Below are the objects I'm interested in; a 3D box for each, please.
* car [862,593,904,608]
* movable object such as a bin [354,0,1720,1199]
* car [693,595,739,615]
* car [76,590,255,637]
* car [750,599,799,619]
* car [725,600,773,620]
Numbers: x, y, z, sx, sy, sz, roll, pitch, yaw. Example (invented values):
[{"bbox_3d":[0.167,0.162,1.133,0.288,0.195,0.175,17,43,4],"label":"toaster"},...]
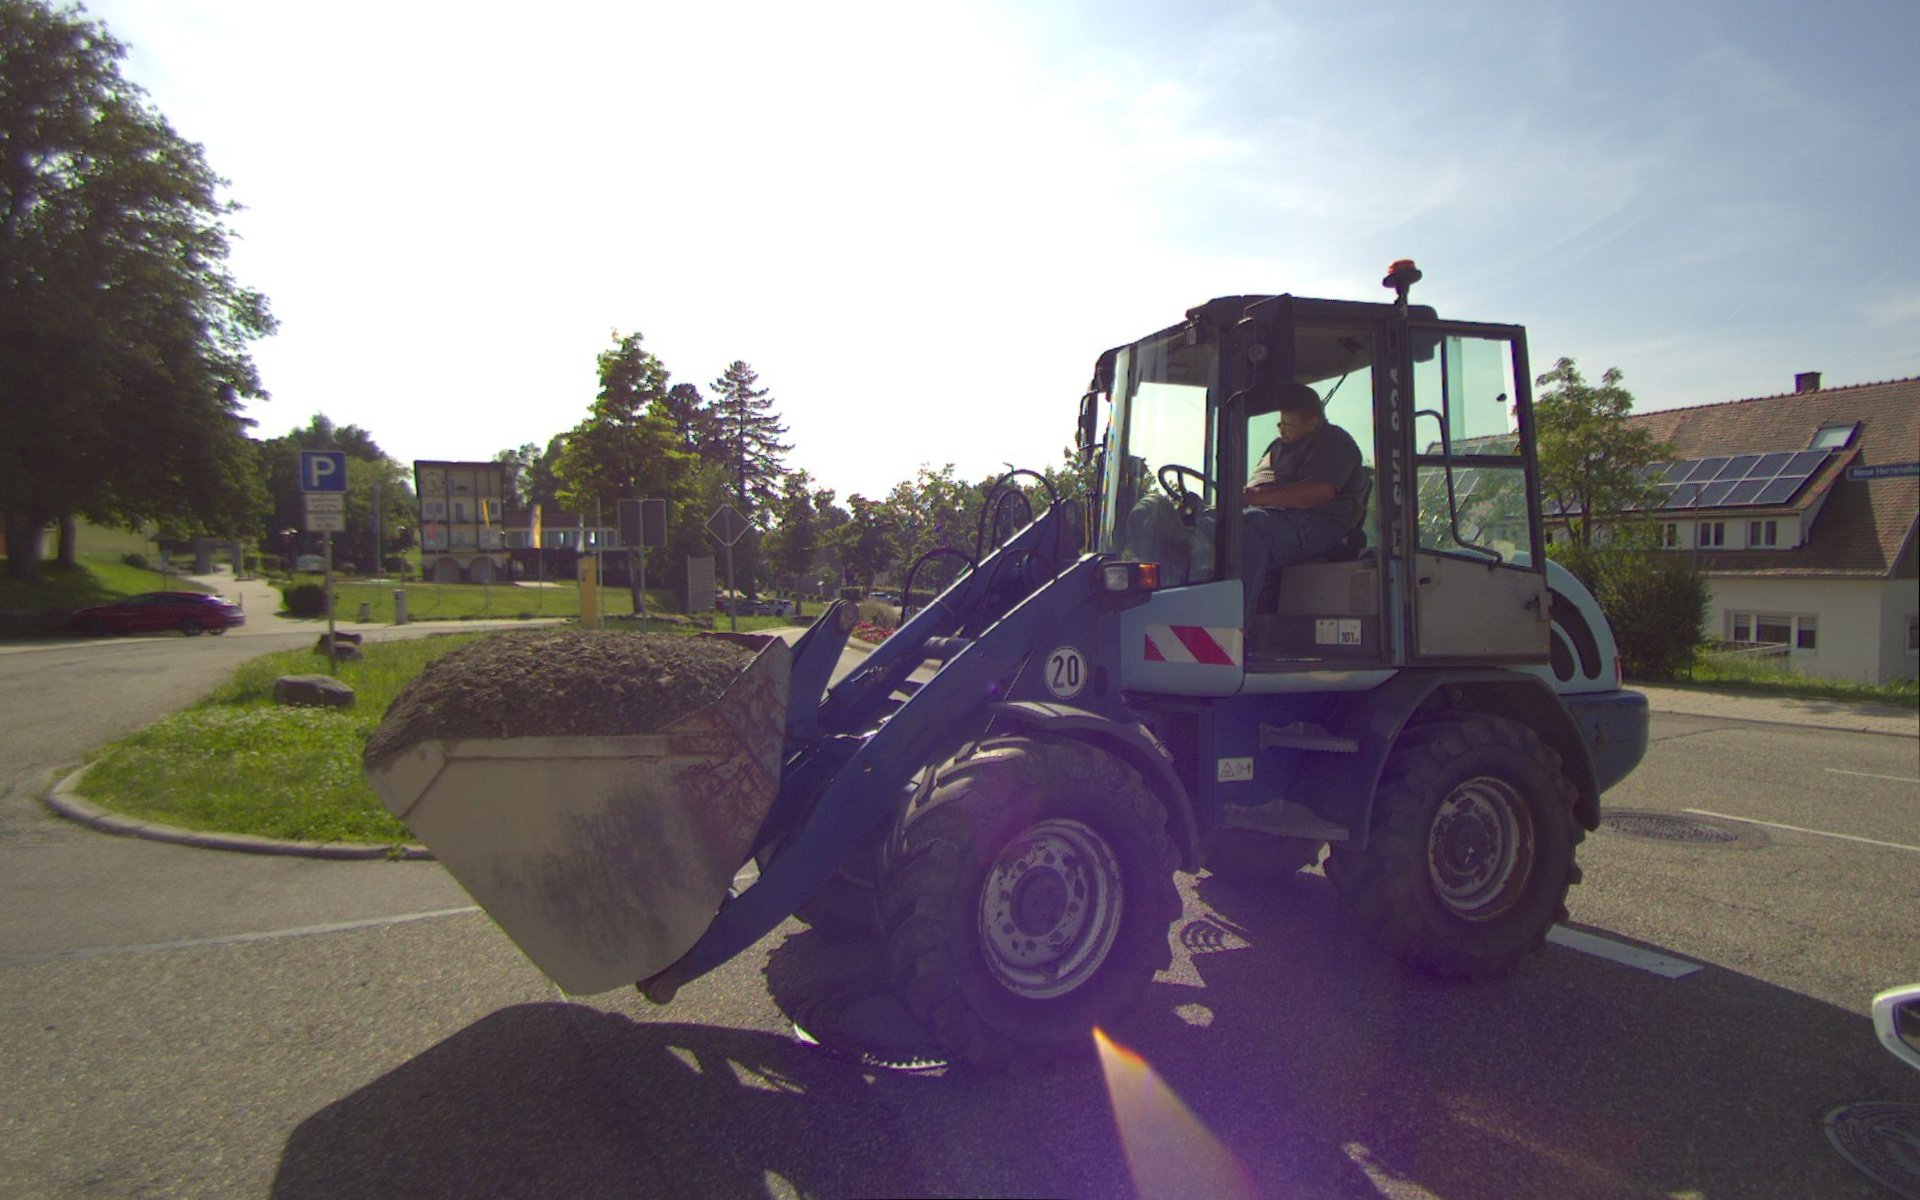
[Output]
[{"bbox_3d":[-9.171,0.061,119.999,4.678,1.555,1.982,-1,6,-33],"label":"car"},{"bbox_3d":[0.563,0.056,4.181,5.034,2.806,1.988,1,0,-24],"label":"movable object such as a bin"},{"bbox_3d":[-19.740,0.405,81.372,3.146,1.490,1.775,2,0,23],"label":"car"},{"bbox_3d":[-25.747,0.433,32.699,4.166,1.417,1.819,1,0,-14],"label":"car"},{"bbox_3d":[-16.214,0.809,87.944,3.866,1.630,1.775,2,0,25],"label":"car"},{"bbox_3d":[-17.678,0.844,84.143,3.643,1.452,1.775,2,0,25],"label":"car"}]
